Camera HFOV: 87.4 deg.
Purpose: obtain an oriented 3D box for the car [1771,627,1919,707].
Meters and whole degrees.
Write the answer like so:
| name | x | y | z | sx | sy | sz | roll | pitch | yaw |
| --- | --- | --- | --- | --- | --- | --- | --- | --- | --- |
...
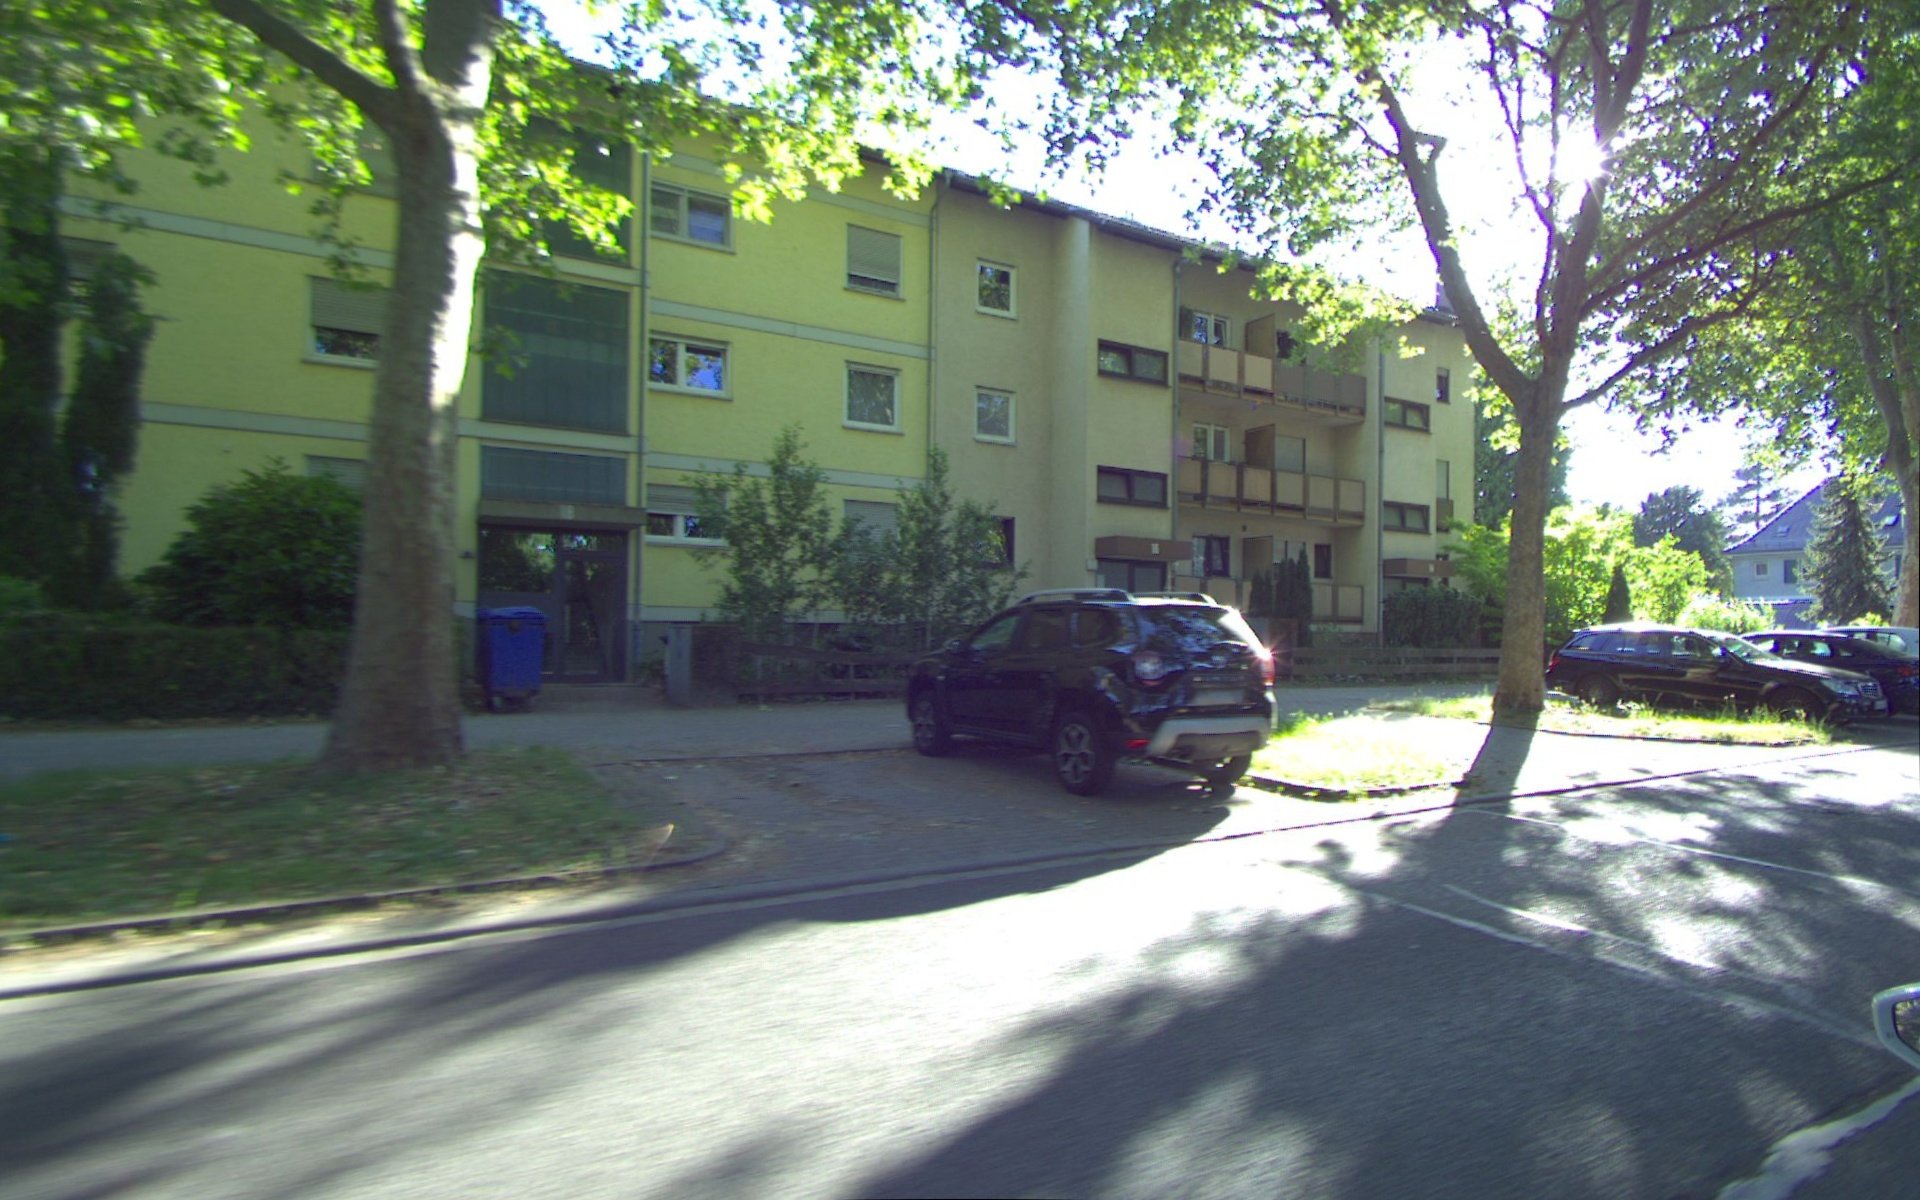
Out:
| name | x | y | z | sx | sy | sz | roll | pitch | yaw |
| --- | --- | --- | --- | --- | --- | --- | --- | --- | --- |
| car | 19.064 | 1.333 | 20.153 | 1.787 | 1.490 | 3.970 | 1 | -1 | -28 |

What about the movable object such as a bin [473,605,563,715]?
| name | x | y | z | sx | sy | sz | roll | pitch | yaw |
| --- | --- | --- | --- | --- | --- | --- | --- | --- | --- |
| movable object such as a bin | -5.854 | 0.771 | 13.266 | 0.942 | 1.368 | 1.180 | 2 | -2 | -30 |

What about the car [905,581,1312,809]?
| name | x | y | z | sx | sy | sz | roll | pitch | yaw |
| --- | --- | --- | --- | --- | --- | --- | --- | --- | --- |
| car | 1.163 | 0.752 | 9.767 | 1.651 | 1.702 | 4.224 | 1 | -1 | -30 |

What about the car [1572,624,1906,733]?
| name | x | y | z | sx | sy | sz | roll | pitch | yaw |
| --- | --- | --- | --- | --- | --- | --- | --- | --- | --- |
| car | 12.515 | 1.172 | 16.405 | 1.760 | 1.490 | 3.967 | 1 | -1 | -31 |

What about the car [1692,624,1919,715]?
| name | x | y | z | sx | sy | sz | roll | pitch | yaw |
| --- | --- | --- | --- | --- | --- | --- | --- | --- | --- |
| car | 16.687 | 1.261 | 19.225 | 1.788 | 1.540 | 3.967 | 1 | -1 | -31 |

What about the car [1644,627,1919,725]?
| name | x | y | z | sx | sy | sz | roll | pitch | yaw |
| --- | --- | --- | --- | --- | --- | --- | --- | --- | --- |
| car | 14.536 | 1.238 | 17.502 | 1.790 | 1.443 | 3.962 | 1 | -1 | -34 |
